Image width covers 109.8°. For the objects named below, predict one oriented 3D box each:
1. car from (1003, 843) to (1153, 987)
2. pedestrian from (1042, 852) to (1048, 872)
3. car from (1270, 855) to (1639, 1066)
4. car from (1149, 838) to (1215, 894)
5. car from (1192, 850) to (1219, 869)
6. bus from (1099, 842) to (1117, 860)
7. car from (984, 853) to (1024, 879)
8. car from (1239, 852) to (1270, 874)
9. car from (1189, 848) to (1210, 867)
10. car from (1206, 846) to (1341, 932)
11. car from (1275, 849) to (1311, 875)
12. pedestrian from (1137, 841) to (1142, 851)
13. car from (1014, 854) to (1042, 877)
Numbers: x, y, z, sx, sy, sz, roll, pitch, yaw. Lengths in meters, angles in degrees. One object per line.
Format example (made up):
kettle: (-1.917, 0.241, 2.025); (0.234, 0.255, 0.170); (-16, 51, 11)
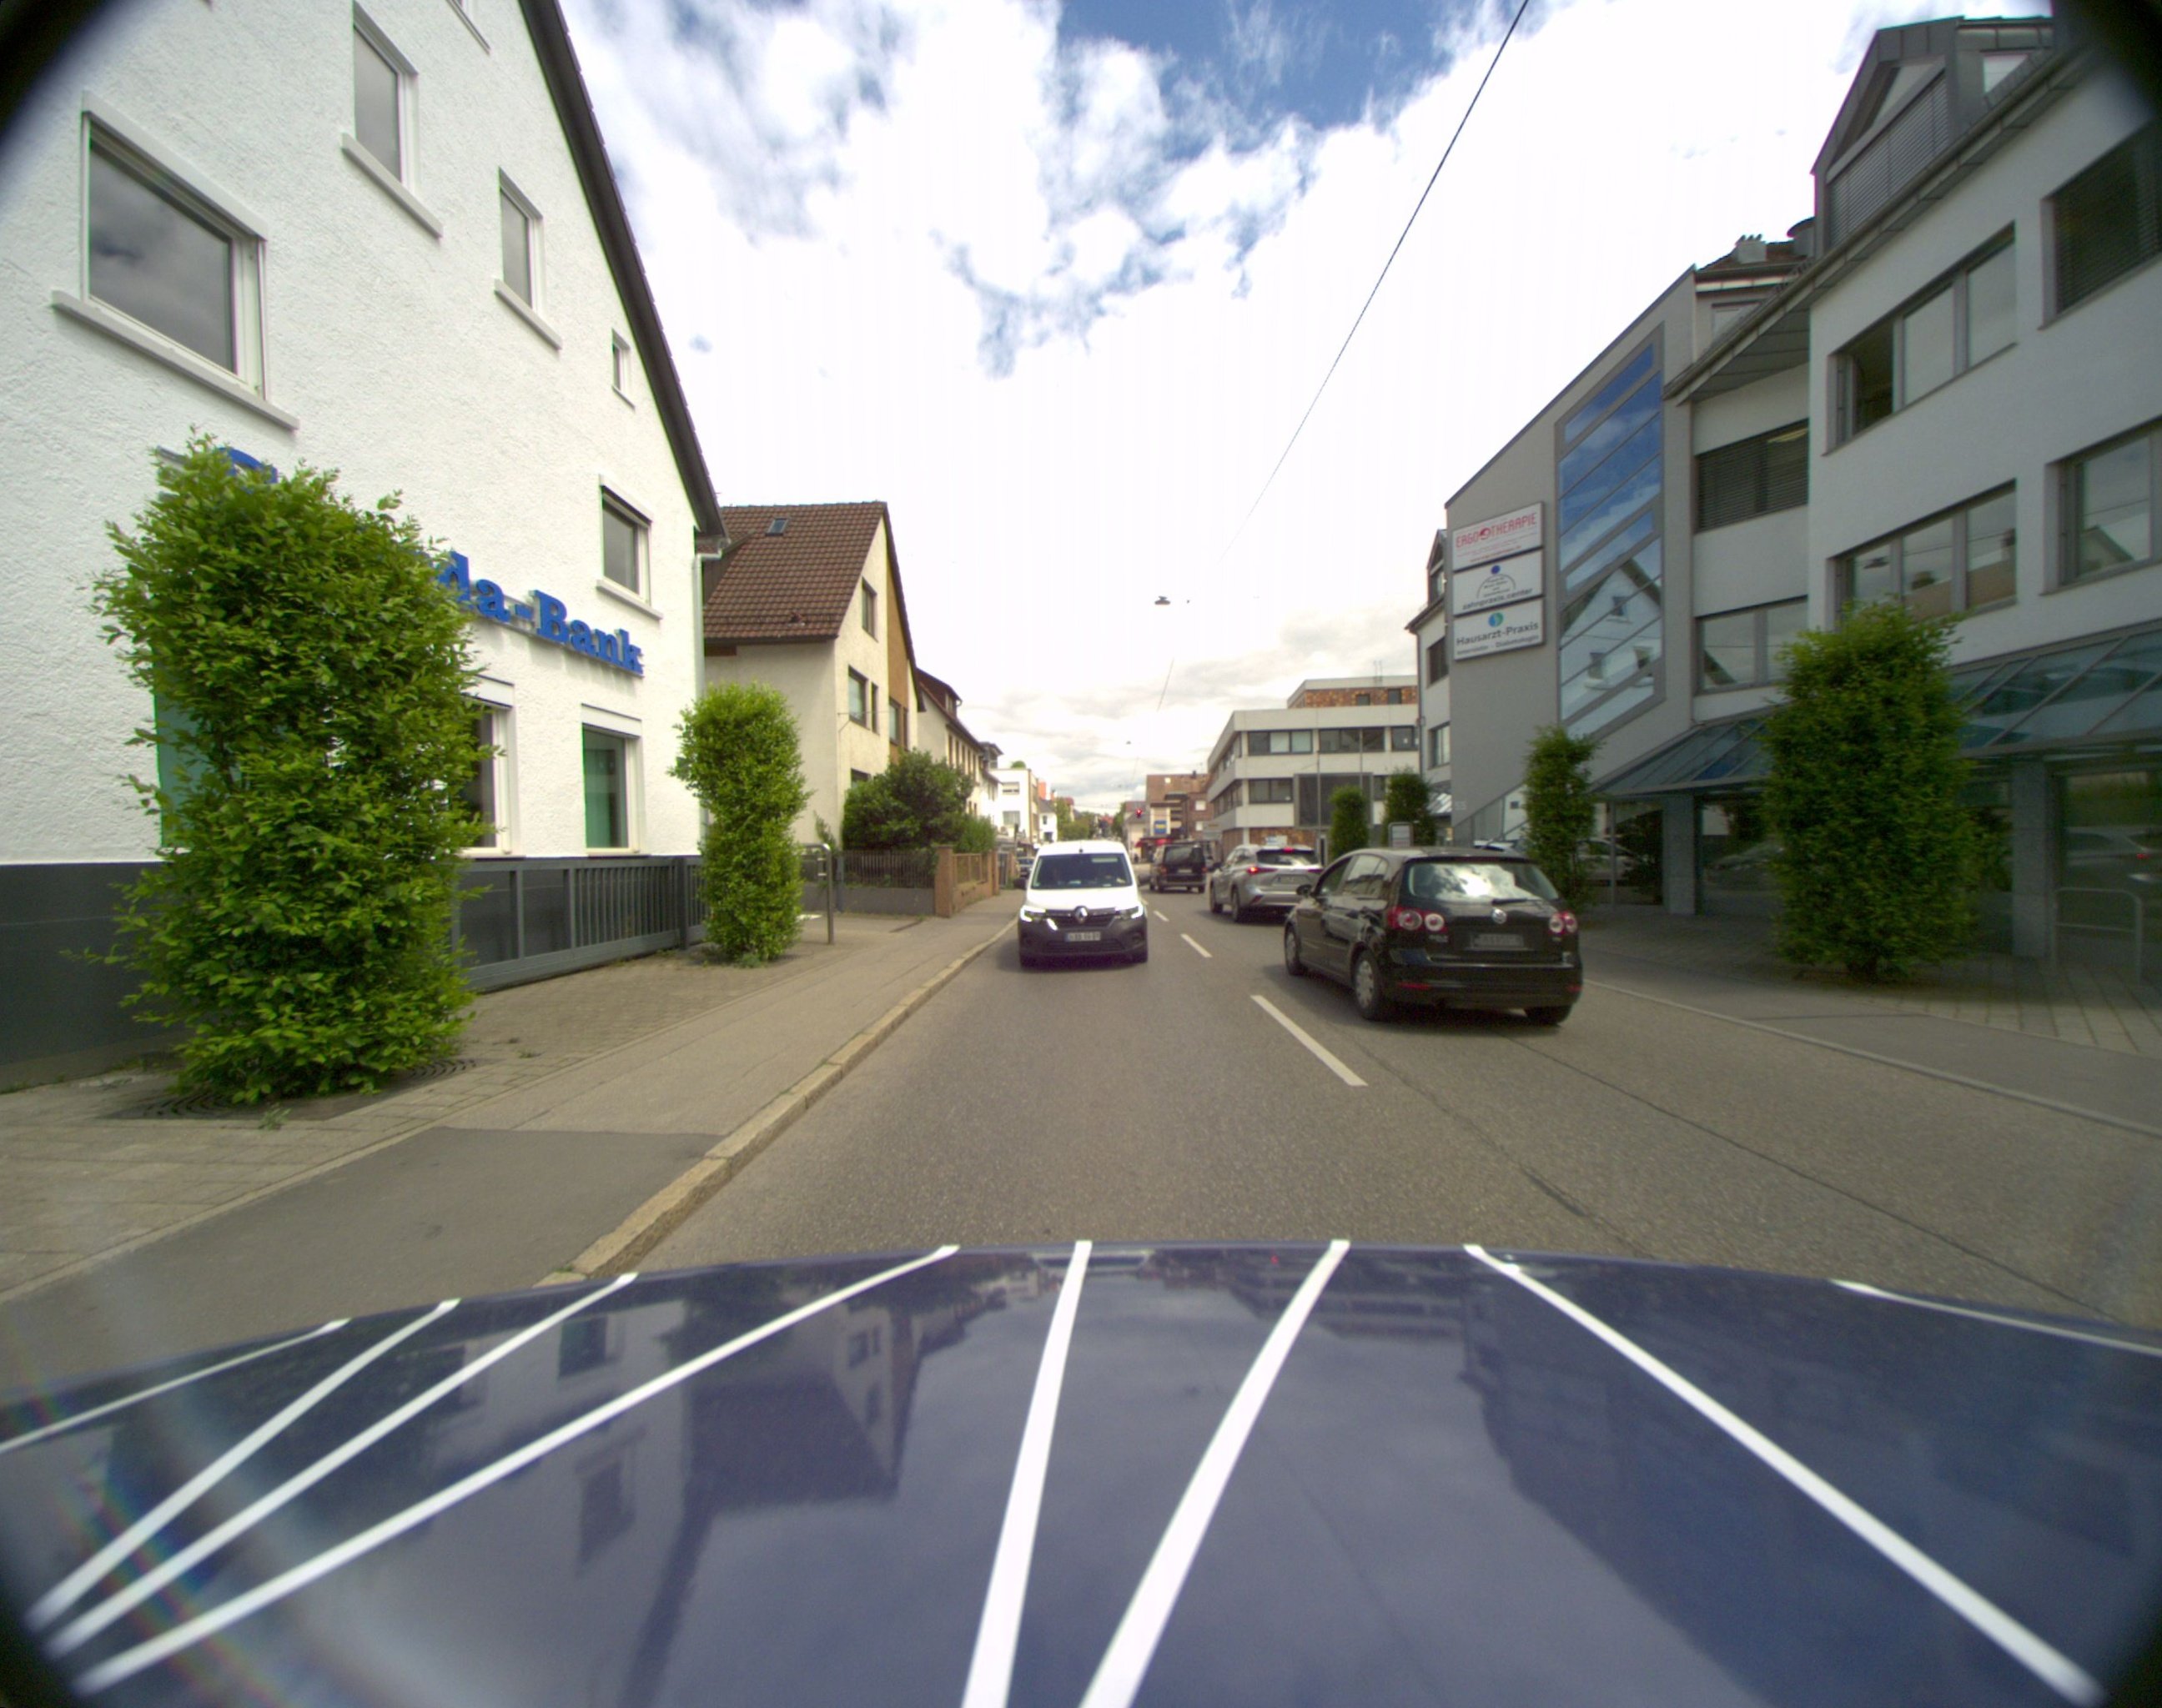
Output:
car: (0.073, 0.759, 12.323); (1.870, 1.805, 5.007); (-2, 1, 3)
pedestrian: (-3.645, 0.847, 77.639); (0.476, 2.010, 0.918); (-1, 1, 2)
car: (3.324, 0.809, 7.780); (1.836, 1.575, 4.037); (0, 0, 1)
car: (4.091, 0.442, 31.568); (2.116, 2.139, 4.882); (0, 0, 0)
car: (10.270, 0.437, 63.013); (1.839, 1.418, 4.219); (-2, 1, 5)
bus: (5.431, -0.624, 152.399); (3.133, 3.239, 9.749); (-2, 1, 0)
car: (-4.316, 0.647, 43.045); (1.925, 1.404, 3.999); (-1, 0, -2)
car: (12.264, 0.621, 53.876); (1.824, 1.321, 4.238); (-2, 1, 9)
car: (10.885, 0.289, 69.868); (1.808, 1.521, 4.002); (-2, 1, 9)
car: (4.328, 0.694, 17.926); (1.991, 1.727, 4.795); (1, 1, 1)
car: (14.809, 0.531, 53.248); (1.896, 1.687, 3.803); (1, 1, 8)
pedestrian: (9.182, -1.251, 118.964); (0.669, 1.424, 0.778); (-1, 1, 6)
car: (-3.553, 0.737, 51.224); (1.656, 1.413, 3.999); (-1, 0, -1)
